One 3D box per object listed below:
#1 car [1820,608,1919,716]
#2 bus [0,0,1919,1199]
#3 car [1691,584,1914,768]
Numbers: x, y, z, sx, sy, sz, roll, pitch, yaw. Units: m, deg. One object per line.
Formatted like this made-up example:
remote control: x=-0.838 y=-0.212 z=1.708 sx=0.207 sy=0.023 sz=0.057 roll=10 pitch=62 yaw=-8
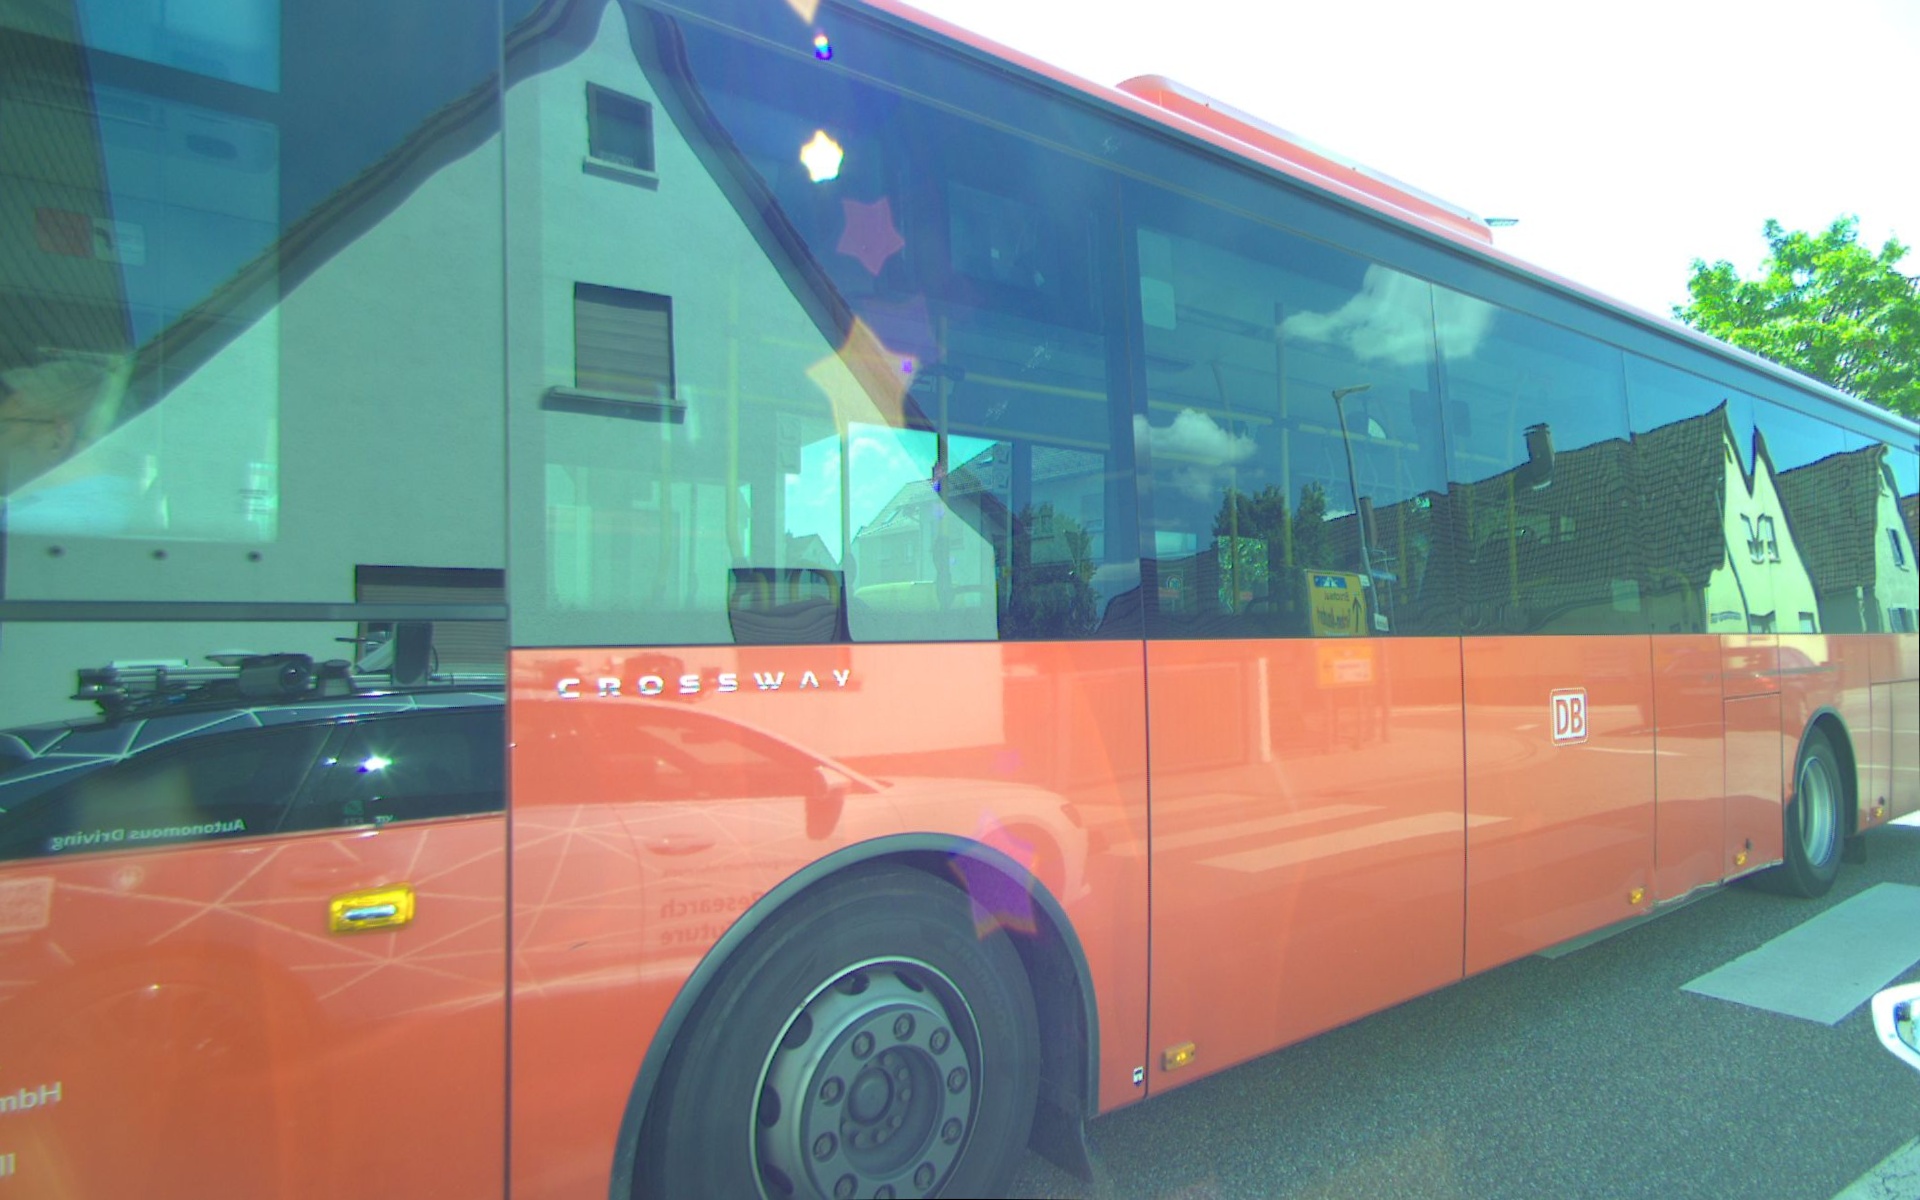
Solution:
car: x=17.216 y=1.004 z=16.406 sx=4.457 sy=1.732 sz=1.870 roll=-1 pitch=-2 yaw=26
bus: x=2.057 y=-0.008 z=5.157 sx=11.901 sy=3.274 sz=2.610 roll=1 pitch=-3 yaw=-35
car: x=10.345 y=0.856 z=12.349 sx=1.752 sy=1.845 sz=4.419 roll=-3 pitch=-3 yaw=41
